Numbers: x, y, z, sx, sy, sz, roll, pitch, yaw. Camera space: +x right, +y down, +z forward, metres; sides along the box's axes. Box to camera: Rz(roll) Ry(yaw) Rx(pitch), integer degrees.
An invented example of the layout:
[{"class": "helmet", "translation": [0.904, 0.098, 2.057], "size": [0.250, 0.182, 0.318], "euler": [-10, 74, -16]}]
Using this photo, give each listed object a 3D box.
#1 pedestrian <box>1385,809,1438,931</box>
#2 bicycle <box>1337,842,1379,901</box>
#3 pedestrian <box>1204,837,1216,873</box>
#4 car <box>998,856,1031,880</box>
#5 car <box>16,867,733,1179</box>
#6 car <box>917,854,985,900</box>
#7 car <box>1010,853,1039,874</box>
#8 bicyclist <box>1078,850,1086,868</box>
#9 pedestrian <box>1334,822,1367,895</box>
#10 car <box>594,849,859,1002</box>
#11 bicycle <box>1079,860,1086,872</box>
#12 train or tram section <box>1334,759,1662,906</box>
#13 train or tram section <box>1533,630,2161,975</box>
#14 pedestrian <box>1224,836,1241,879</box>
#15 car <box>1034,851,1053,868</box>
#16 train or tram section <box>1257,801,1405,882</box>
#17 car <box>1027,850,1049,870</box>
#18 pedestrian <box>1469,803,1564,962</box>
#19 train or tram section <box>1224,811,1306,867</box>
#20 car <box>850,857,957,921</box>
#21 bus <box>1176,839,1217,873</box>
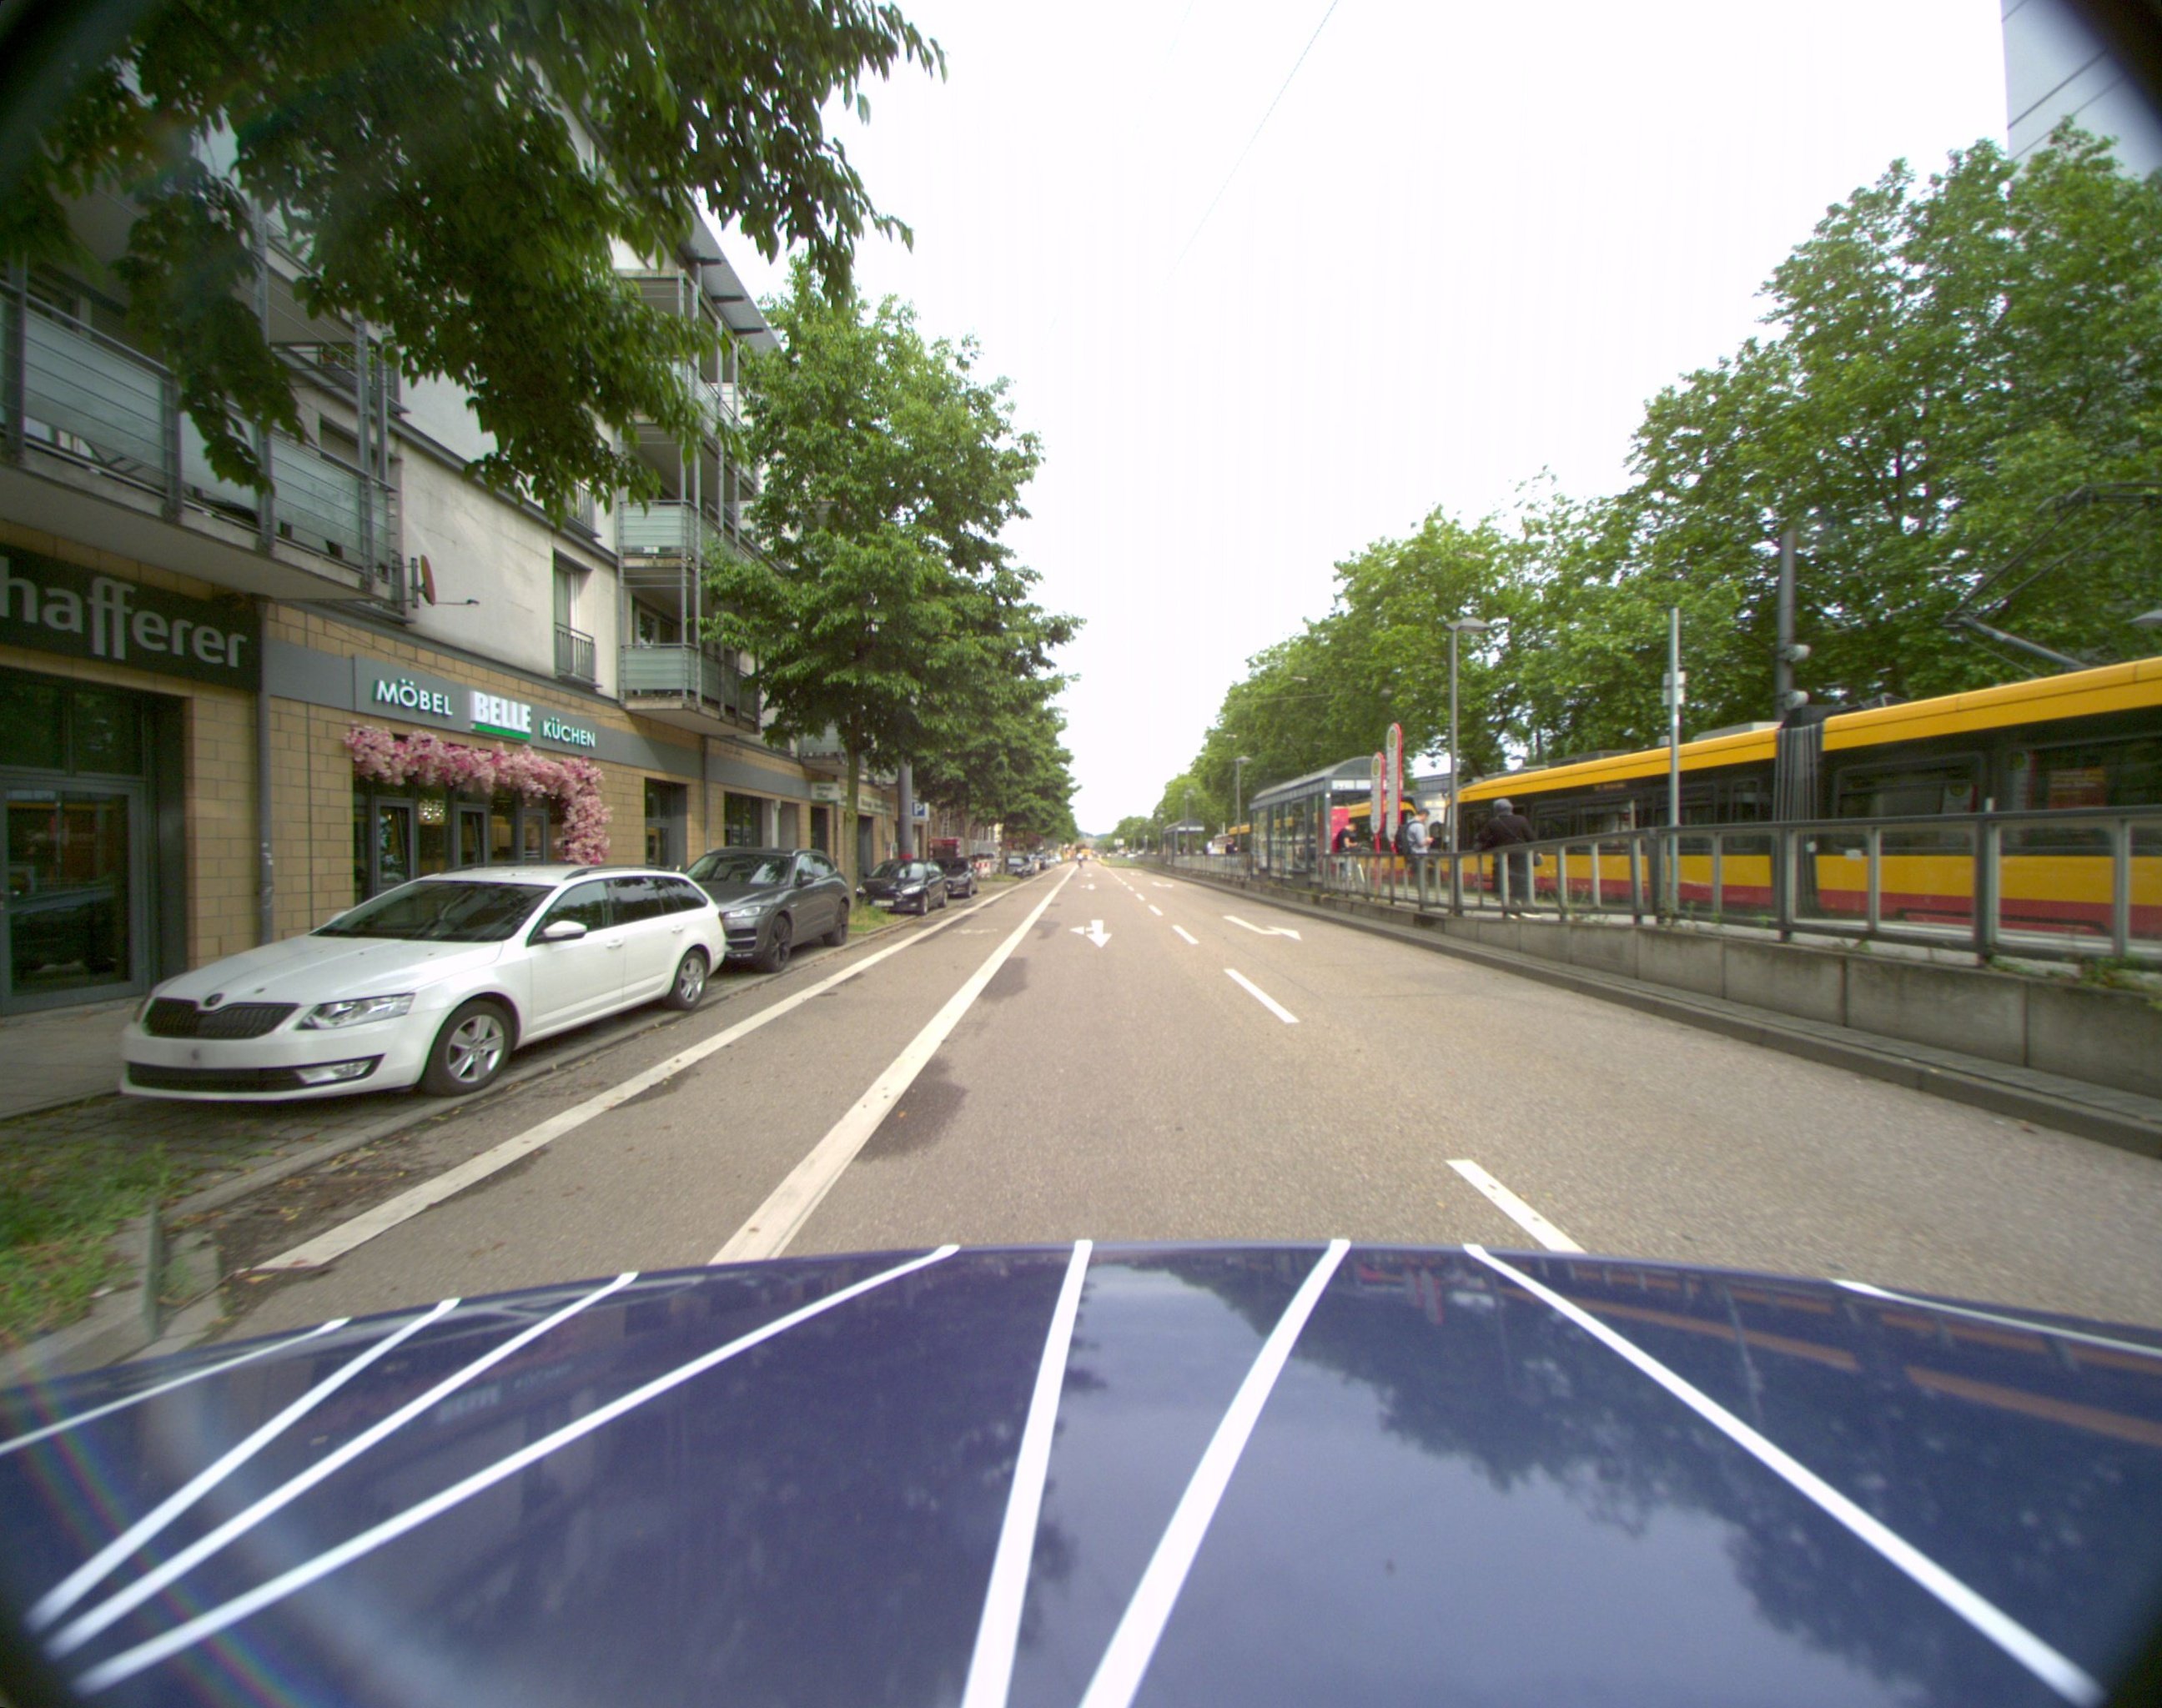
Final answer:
[{"class": "pedestrian", "translation": [5.639, 0.262, 12.956], "size": [0.753, 2.002, 0.819], "euler": [-2, 1, 24]}, {"class": "bicycle", "translation": [5.970, 0.352, 16.437], "size": [0.420, 1.215, 1.289], "euler": [-2, 1, 0]}, {"class": "pedestrian", "translation": [5.870, 0.028, 34.586], "size": [0.480, 1.623, 0.392], "euler": [-2, 1, 2]}, {"class": "car", "translation": [-4.327, 0.876, 49.756], "size": [1.755, 1.452, 4.279], "euler": [1, 1, 0]}, {"class": "car", "translation": [-4.785, 0.934, 6.236], "size": [1.680, 1.490, 4.390], "euler": [2, 1, 2]}, {"class": "car", "translation": [-4.732, 0.797, 28.259], "size": [1.802, 1.447, 4.387], "euler": [2, 1, -1]}, {"class": "car", "translation": [-4.114, 0.656, 55.916], "size": [1.755, 1.452, 4.279], "euler": [1, 1, 0]}, {"class": "bicyclist", "translation": [0.085, 0.508, 77.817], "size": [0.751, 1.777, 0.838], "euler": [-2, 1, 1]}, {"class": "pedestrian", "translation": [6.178, 0.099, 17.434], "size": [0.532, 1.623, 0.471], "euler": [-2, 1, -1]}, {"class": "car", "translation": [-4.809, 0.818, 11.181], "size": [1.716, 1.707, 4.710], "euler": [2, 1, -1]}, {"class": "bicycle", "translation": [0.165, 1.194, 77.246], "size": [0.613, 1.116, 2.050], "euler": [-2, 1, 1]}, {"class": "train or tram section", "translation": [12.797, -0.599, 26.319], "size": [3.067, 3.511, 15.293], "euler": [-2, 1, 1]}, {"class": "train or tram section", "translation": [12.569, -0.603, 11.007], "size": [3.067, 3.511, 15.293], "euler": [-2, 1, 1]}, {"class": "pedestrian", "translation": [5.957, 0.132, 29.898], "size": [0.513, 1.623, 0.730], "euler": [-2, 1, 2]}, {"class": "car", "translation": [-4.021, 0.581, 81.353], "size": [1.837, 1.686, 3.762], "euler": [1, 1, 0]}, {"class": "train or tram section", "translation": [13.007, -0.627, 41.843], "size": [3.067, 3.511, 15.770], "euler": [-2, 1, 1]}, {"class": "car", "translation": [-4.040, 0.545, 72.060], "size": [1.837, 1.720, 4.279], "euler": [1, 1, 0]}, {"class": "pedestrian", "translation": [5.779, 0.355, 10.088], "size": [0.756, 2.002, 0.816], "euler": [-3, 1, -36]}, {"class": "train or tram section", "translation": [13.235, -1.065, 55.995], "size": [3.100, 3.541, 12.538], "euler": [-2, 1, 1]}, {"class": "car", "translation": [-4.663, 0.862, 20.606], "size": [1.680, 1.433, 4.408], "euler": [2, 1, 2]}, {"class": "bus", "translation": [7.352, 0.112, 48.796], "size": [1.998, 2.002, 4.000], "euler": [-2, 1, 1]}]
